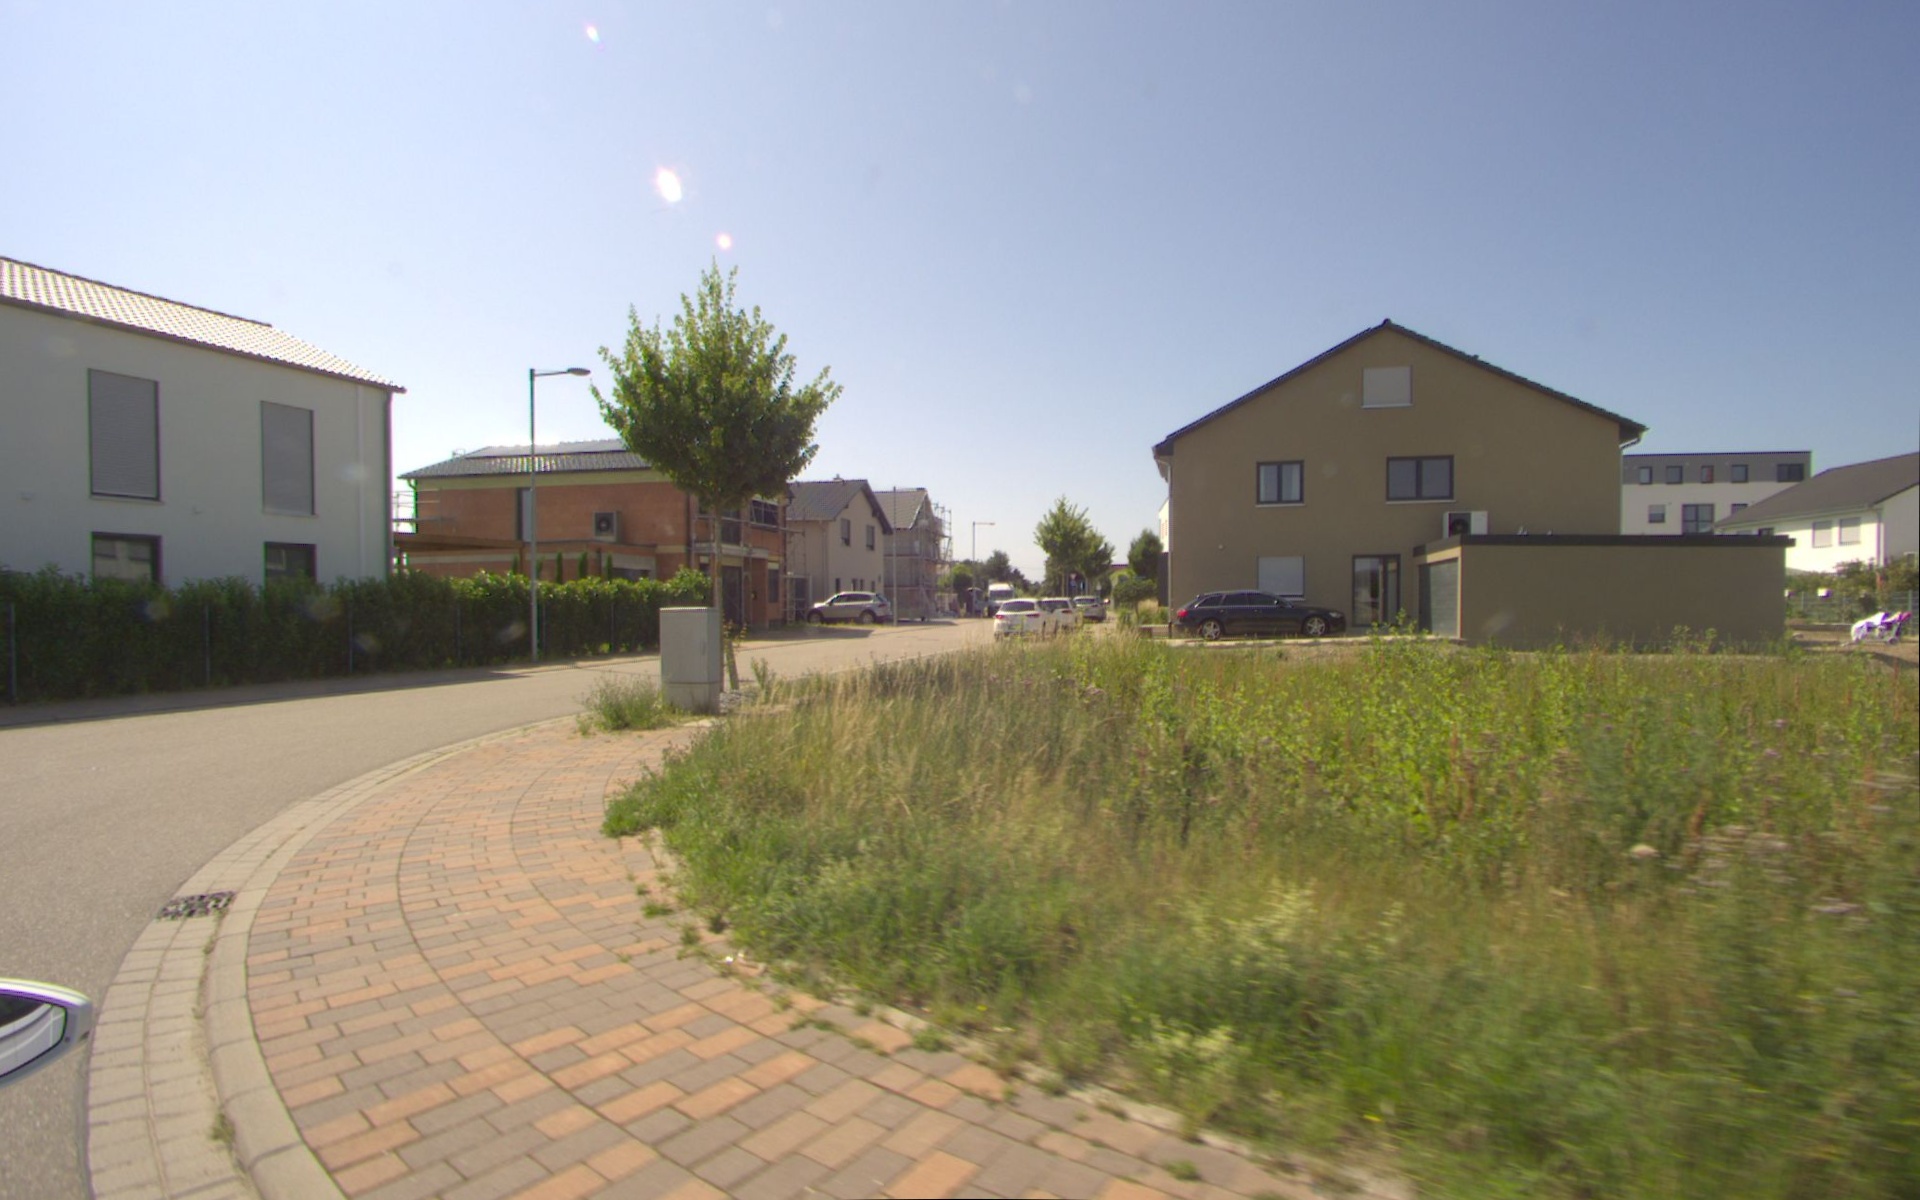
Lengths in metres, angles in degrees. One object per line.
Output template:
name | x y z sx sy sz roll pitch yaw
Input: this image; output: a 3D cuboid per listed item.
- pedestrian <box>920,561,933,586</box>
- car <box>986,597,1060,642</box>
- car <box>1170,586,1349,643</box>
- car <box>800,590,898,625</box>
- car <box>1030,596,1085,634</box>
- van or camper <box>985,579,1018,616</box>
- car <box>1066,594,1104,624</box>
pedestrian | -2.330 -1.820 70.141 0.738 1.701 0.575 1 -1 -32
car | 2.318 0.653 35.457 1.787 1.475 4.559 -1 0 14
car | 8.720 0.421 29.423 4.815 1.445 1.997 -3 0 16
car | -5.420 0.362 49.070 4.355 1.633 1.999 -1 1 10
car | 4.126 0.584 41.791 1.752 1.445 4.509 -1 0 13
van or camper | 3.107 -0.140 73.658 2.236 2.587 6.367 0 0 4
car | 7.214 0.472 57.472 1.888 1.531 5.290 -2 0 10
